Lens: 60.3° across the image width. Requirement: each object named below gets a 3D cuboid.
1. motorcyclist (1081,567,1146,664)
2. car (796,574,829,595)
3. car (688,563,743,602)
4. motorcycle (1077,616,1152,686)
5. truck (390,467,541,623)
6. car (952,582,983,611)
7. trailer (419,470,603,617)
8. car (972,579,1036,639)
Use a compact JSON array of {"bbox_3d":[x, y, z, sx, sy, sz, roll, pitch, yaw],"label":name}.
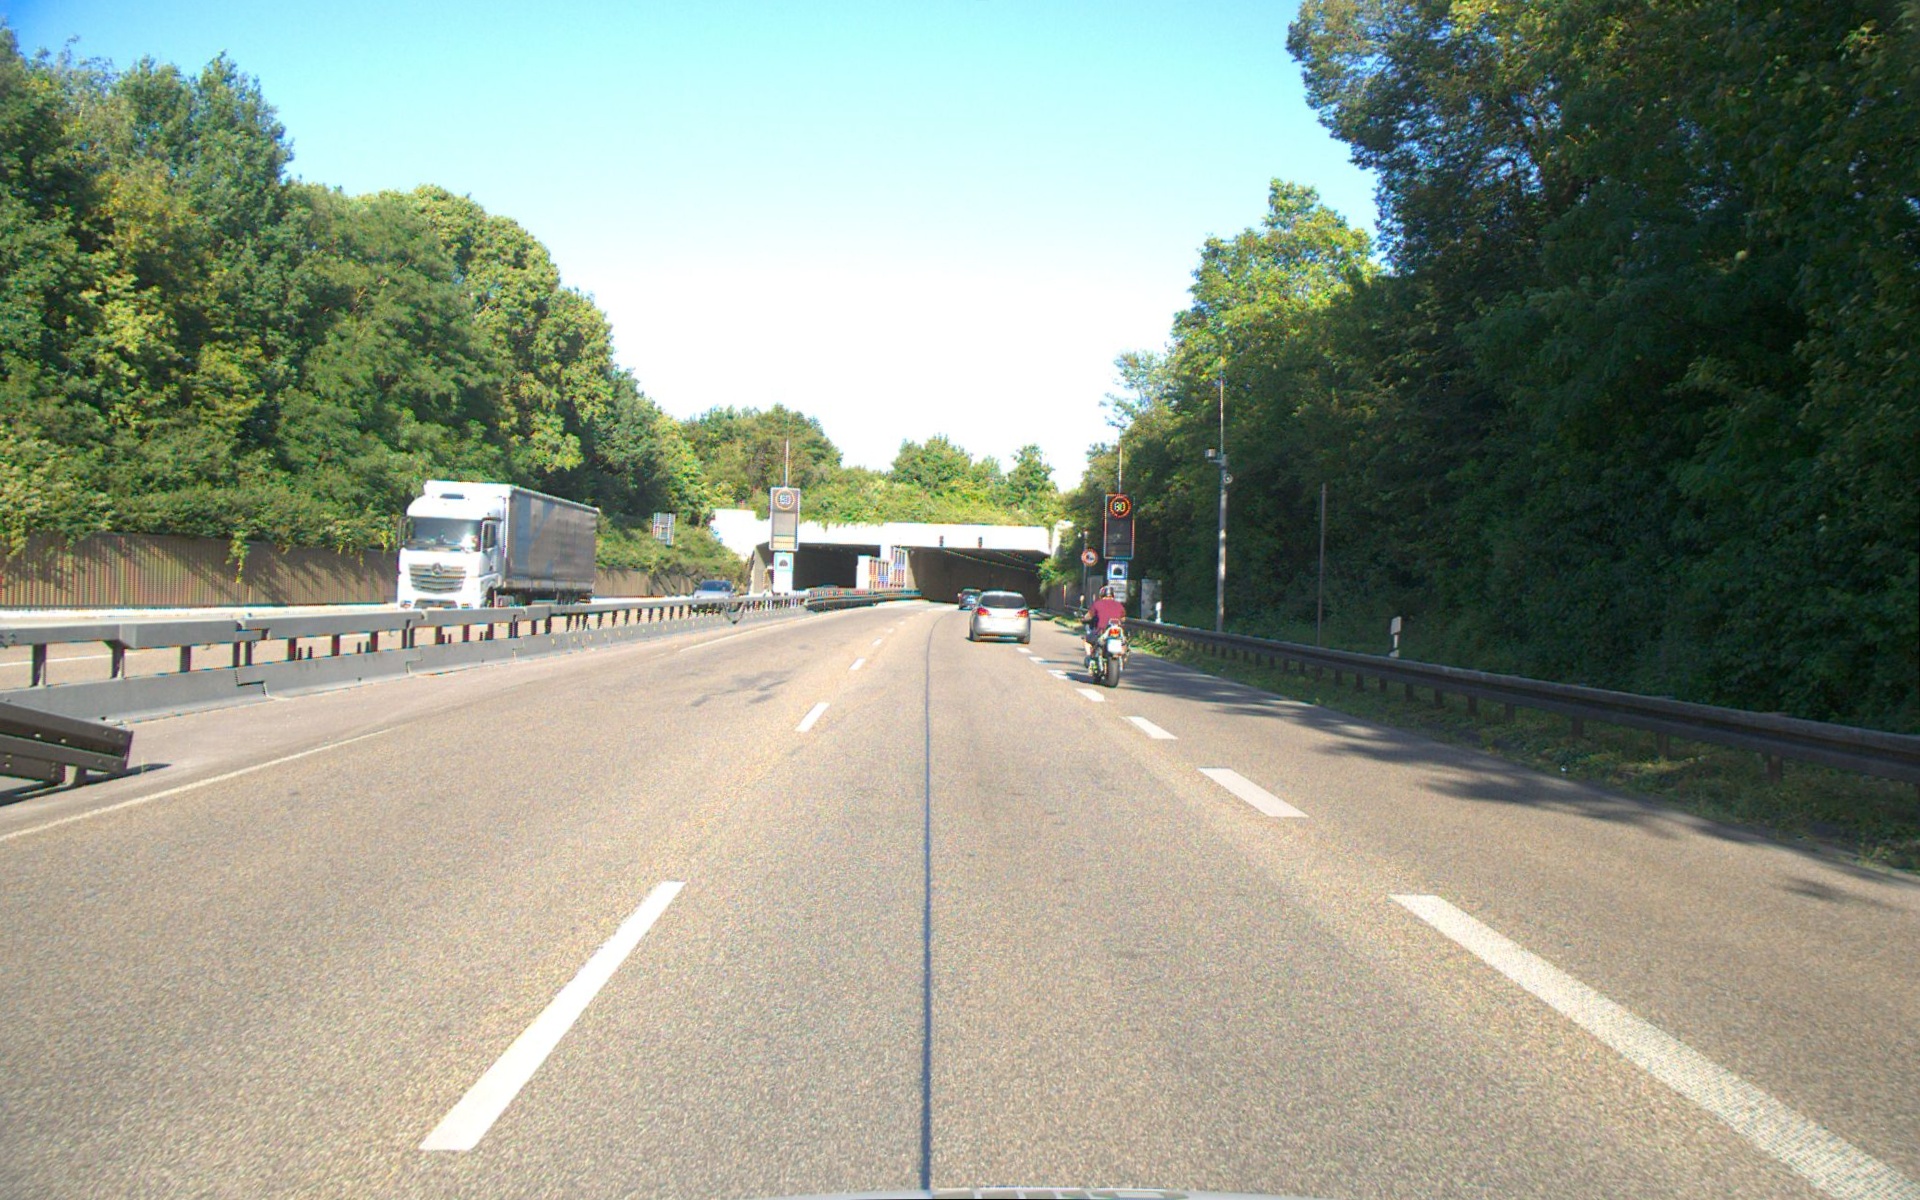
[{"bbox_3d":[2.553,0.239,27.546,0.865,1.527,1.063,3,1,-2],"label":"motorcyclist"},{"bbox_3d":[-11.346,-1.195,127.598,1.952,1.512,4.201,2,1,2],"label":"car"},{"bbox_3d":[-11.825,-0.866,80.261,1.953,1.686,4.937,3,1,-2],"label":"car"},{"bbox_3d":[2.530,0.820,27.345,0.841,1.008,2.727,3,0,-2],"label":"motorcycle"},{"bbox_3d":[-15.125,-1.667,51.076,2.681,4.335,6.386,3,1,-2],"label":"truck"},{"bbox_3d":[0.523,-0.260,119.451,1.953,1.959,3.999,2,1,-2],"label":"car"},{"bbox_3d":[-15.301,-1.888,57.758,2.692,4.353,14.082,3,1,-1],"label":"trailer"},{"bbox_3d":[1.277,0.238,49.059,1.633,1.578,4.000,3,1,-1],"label":"car"}]
